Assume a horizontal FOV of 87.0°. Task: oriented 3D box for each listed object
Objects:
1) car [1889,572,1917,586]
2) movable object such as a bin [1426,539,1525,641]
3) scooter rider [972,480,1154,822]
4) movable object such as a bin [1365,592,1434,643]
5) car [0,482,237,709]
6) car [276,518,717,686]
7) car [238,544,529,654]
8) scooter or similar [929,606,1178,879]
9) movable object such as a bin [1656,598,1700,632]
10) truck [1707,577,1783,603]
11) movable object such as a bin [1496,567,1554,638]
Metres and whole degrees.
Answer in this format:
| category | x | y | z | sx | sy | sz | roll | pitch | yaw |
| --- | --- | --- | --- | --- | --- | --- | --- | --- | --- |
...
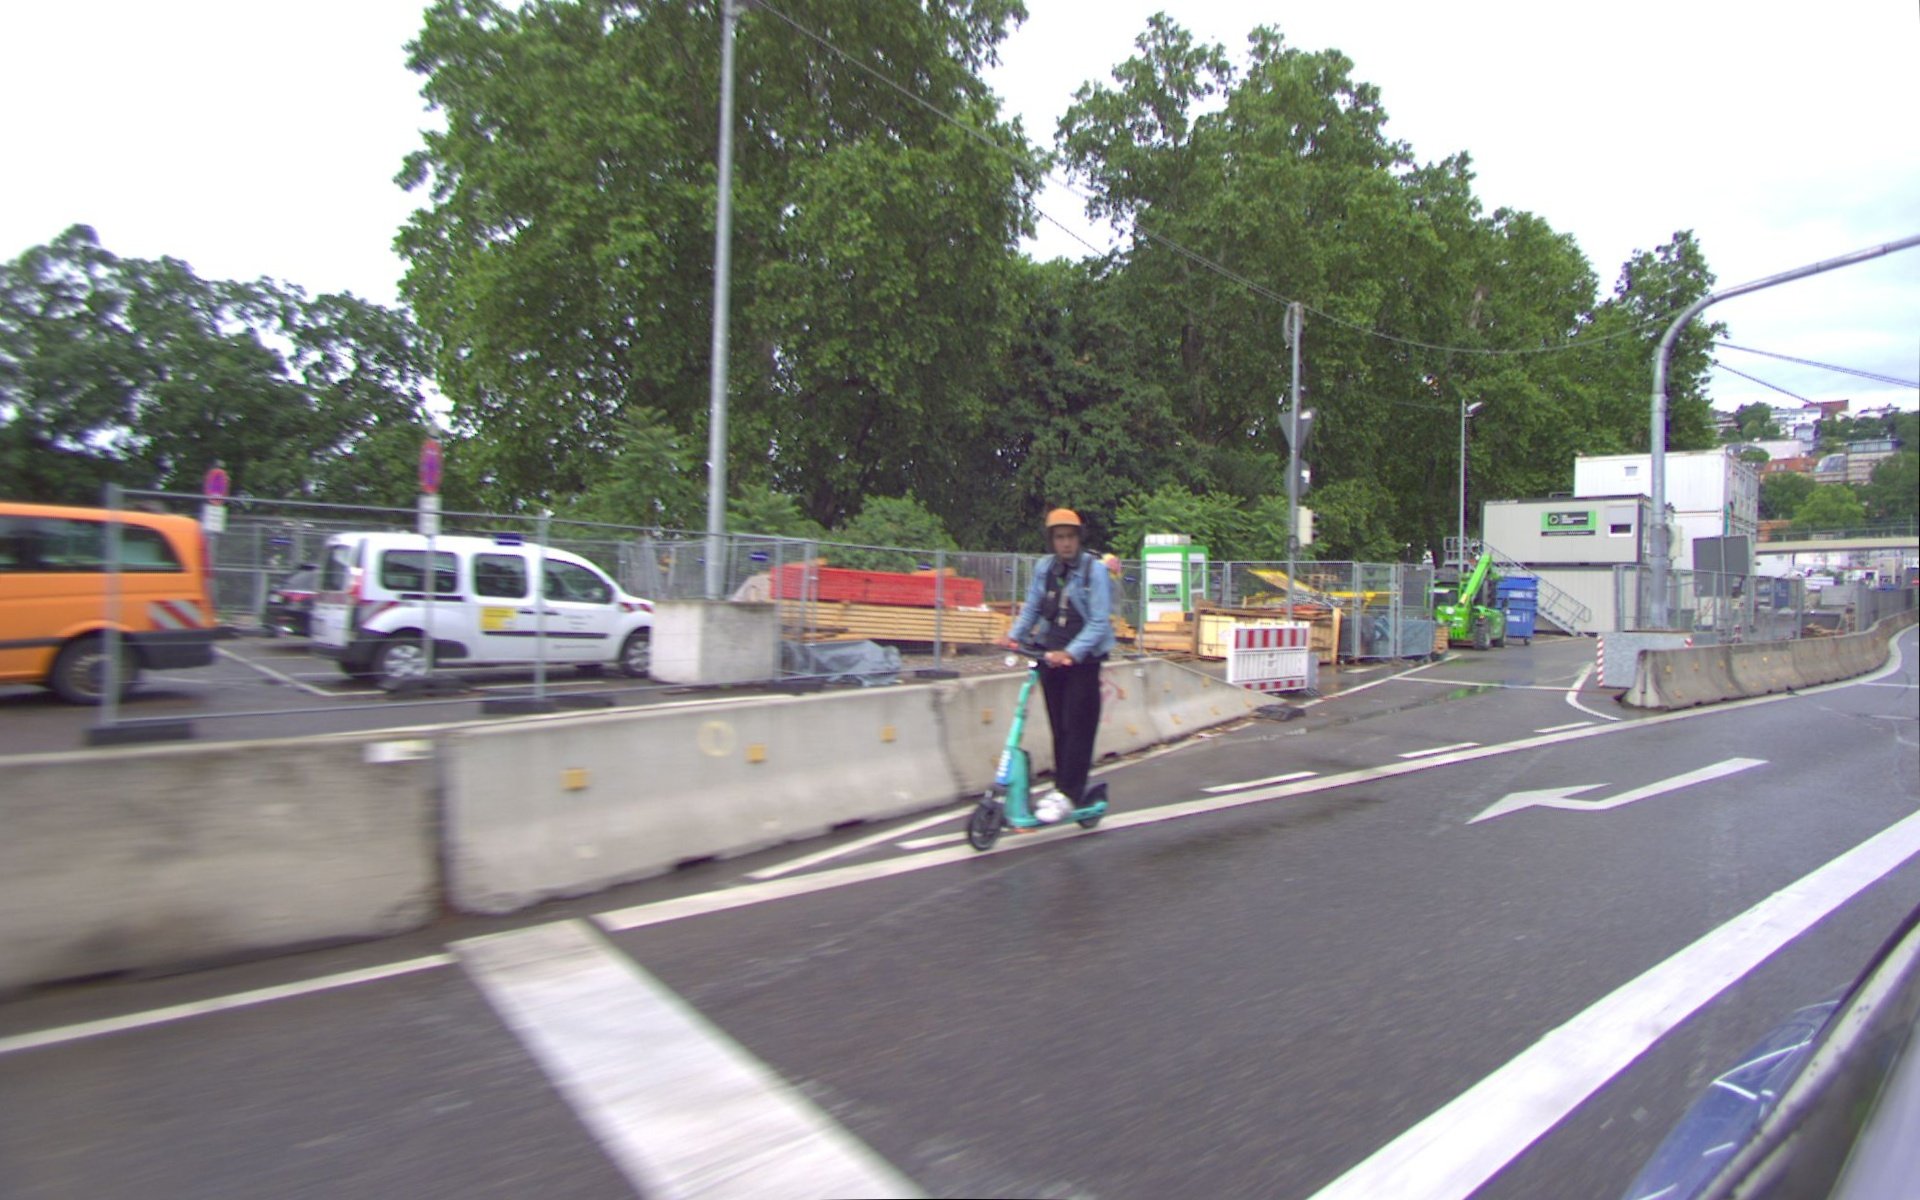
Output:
| category | x | y | z | sx | sy | sz | roll | pitch | yaw |
| --- | --- | --- | --- | --- | --- | --- | --- | --- | --- |
| car | 107.148 | -2.342 | 114.969 | 4.337 | 1.459 | 1.836 | -3 | 2 | -41 |
| movable object such as a bin | 15.374 | -0.269 | 30.101 | 1.804 | 2.845 | 3.810 | 1 | 0 | 40 |
| scooter rider | 0.616 | 0.257 | 5.921 | 0.597 | 1.808 | 0.982 | 1 | 1 | 41 |
| movable object such as a bin | 12.064 | 0.478 | 27.813 | 1.239 | 1.361 | 1.182 | 1 | 0 | -25 |
| car | -9.693 | -0.049 | 8.947 | 1.909 | 2.000 | 5.089 | 1 | 1 | 40 |
| car | -5.927 | 0.039 | 13.489 | 1.847 | 1.829 | 5.004 | 1 | 0 | 44 |
| car | -9.646 | -0.126 | 17.165 | 1.759 | 1.577 | 3.941 | 4 | 6 | 41 |
| scooter or similar | 0.595 | 0.725 | 5.916 | 0.597 | 1.335 | 1.642 | 1 | 1 | 41 |
| movable object such as a bin | 29.057 | 0.591 | 40.957 | 1.247 | 1.251 | 1.220 | 5 | 6 | 44 |
| truck | 68.595 | -0.904 | 88.517 | 5.147 | 2.038 | 2.376 | 2 | 4 | 40 |
| movable object such as a bin | 18.324 | 0.082 | 32.871 | 1.444 | 2.231 | 1.256 | 1 | 0 | 22 |
